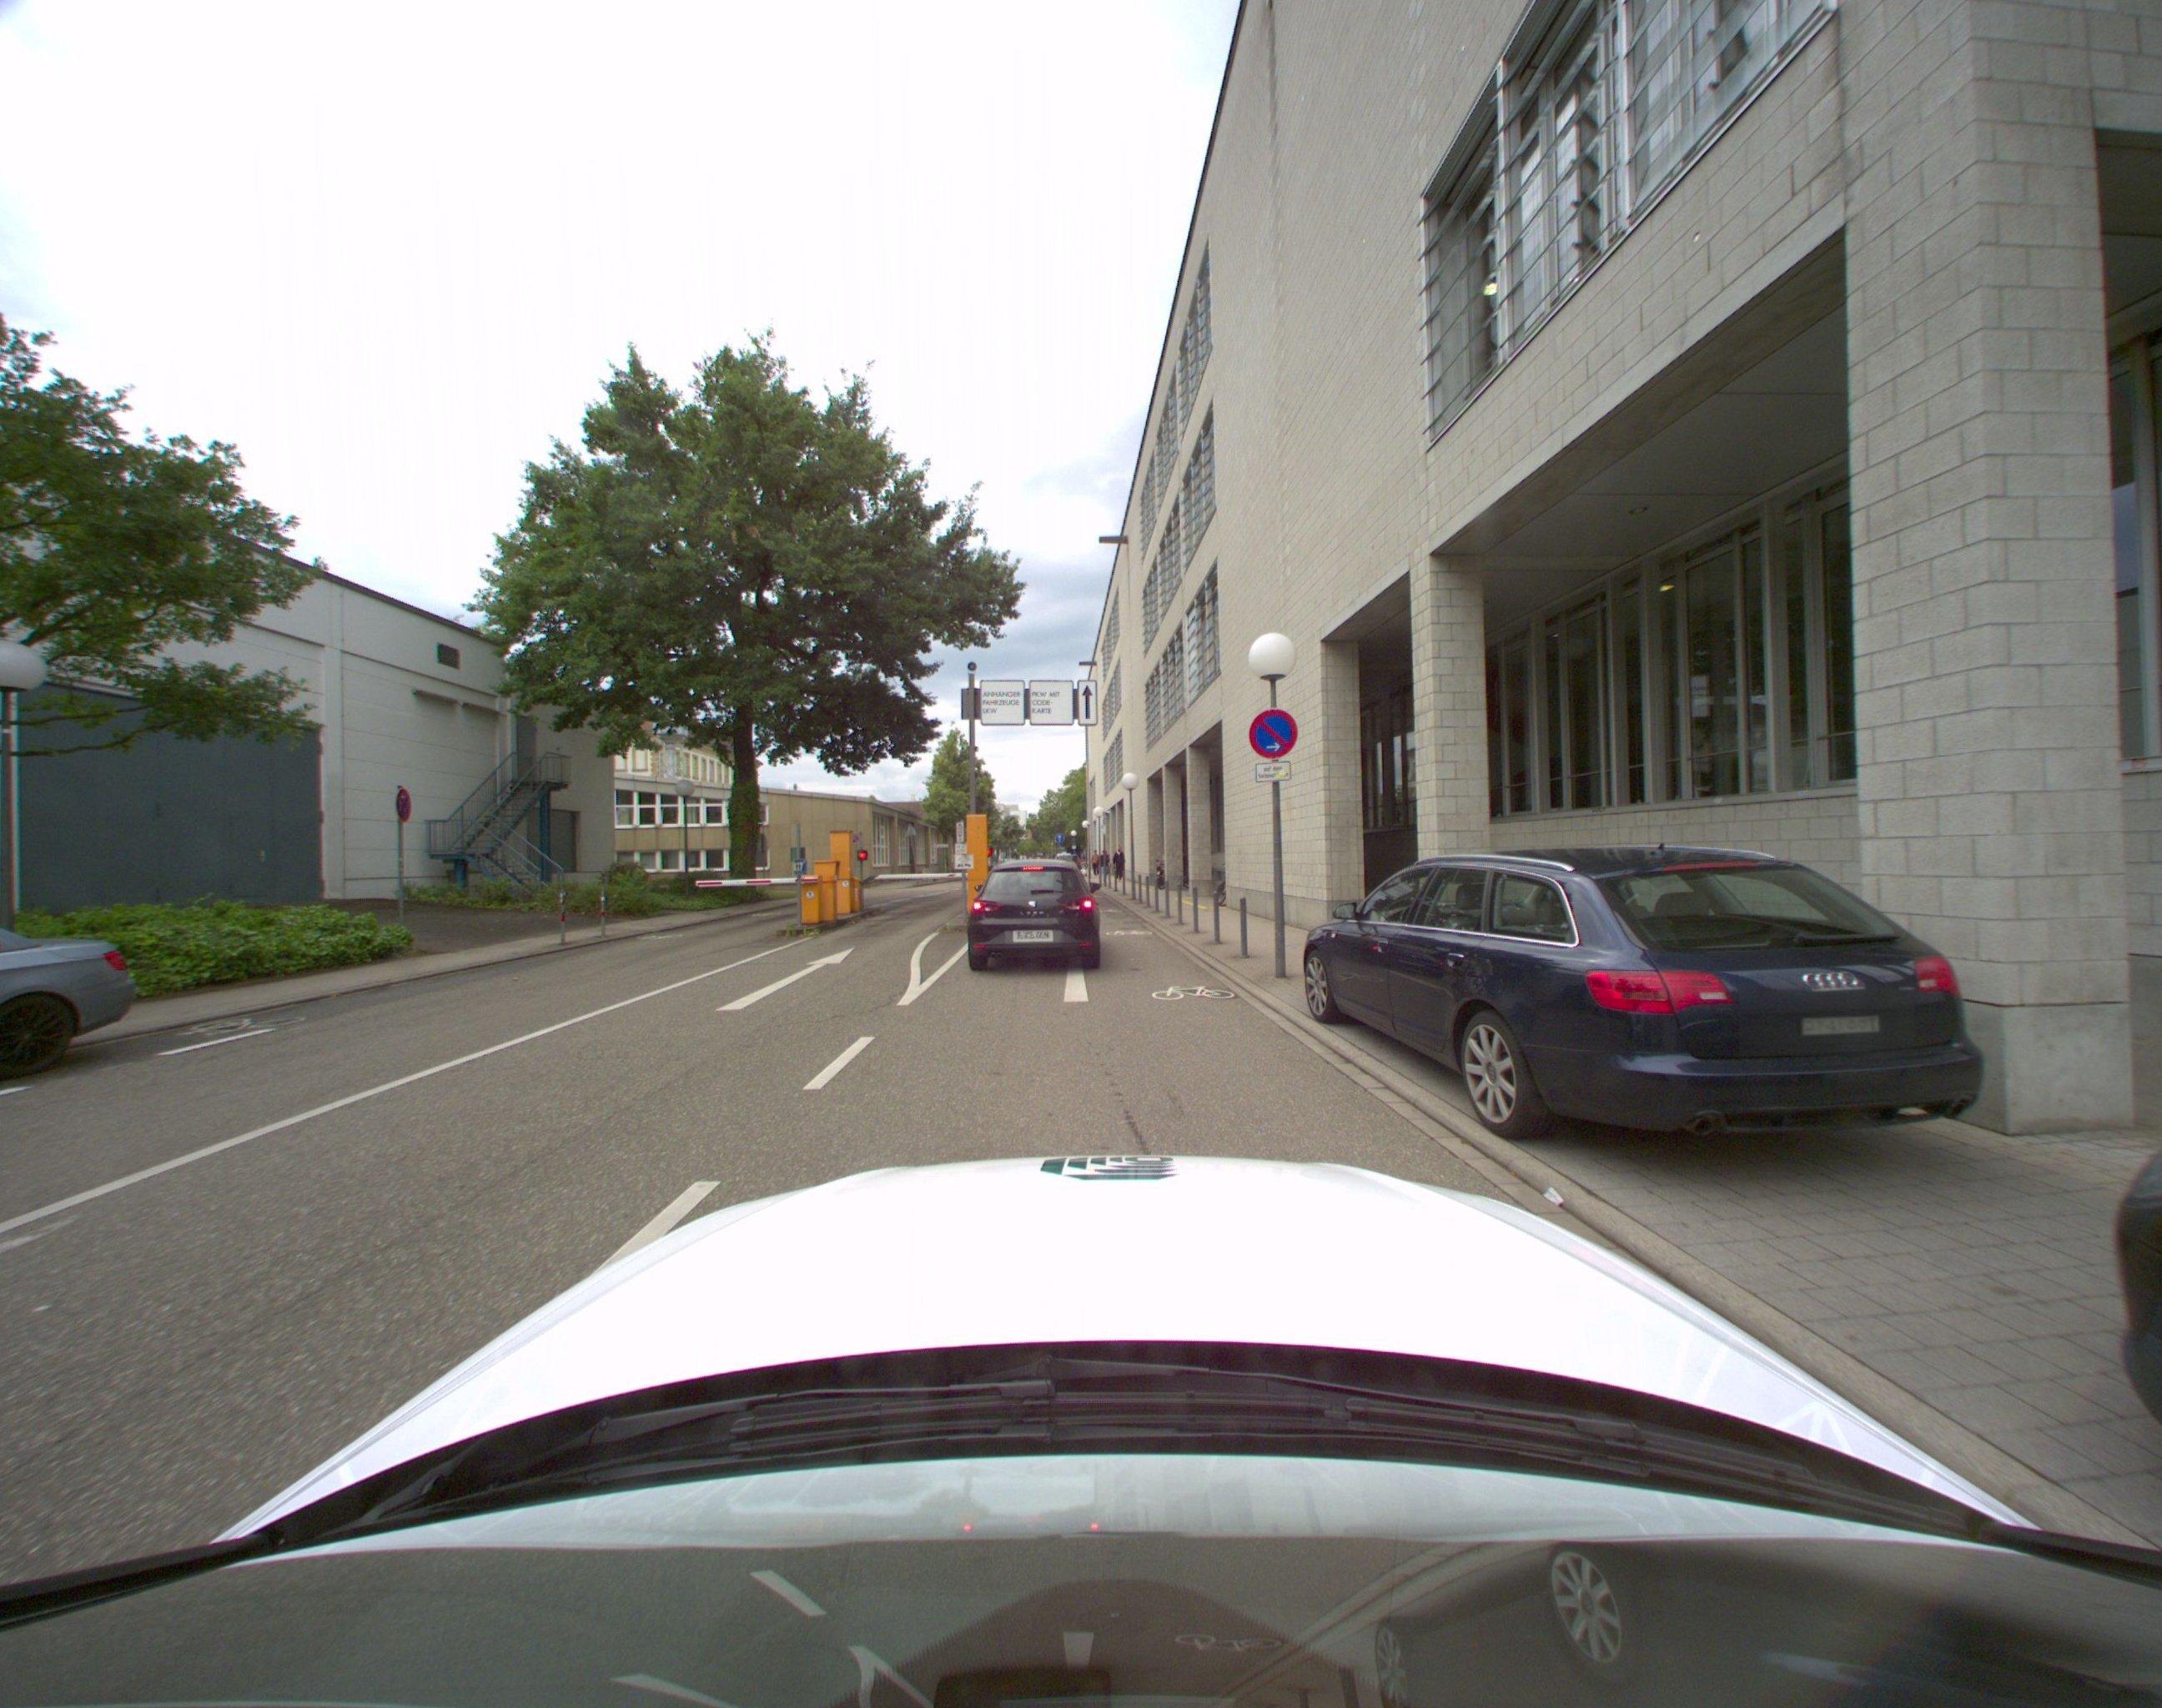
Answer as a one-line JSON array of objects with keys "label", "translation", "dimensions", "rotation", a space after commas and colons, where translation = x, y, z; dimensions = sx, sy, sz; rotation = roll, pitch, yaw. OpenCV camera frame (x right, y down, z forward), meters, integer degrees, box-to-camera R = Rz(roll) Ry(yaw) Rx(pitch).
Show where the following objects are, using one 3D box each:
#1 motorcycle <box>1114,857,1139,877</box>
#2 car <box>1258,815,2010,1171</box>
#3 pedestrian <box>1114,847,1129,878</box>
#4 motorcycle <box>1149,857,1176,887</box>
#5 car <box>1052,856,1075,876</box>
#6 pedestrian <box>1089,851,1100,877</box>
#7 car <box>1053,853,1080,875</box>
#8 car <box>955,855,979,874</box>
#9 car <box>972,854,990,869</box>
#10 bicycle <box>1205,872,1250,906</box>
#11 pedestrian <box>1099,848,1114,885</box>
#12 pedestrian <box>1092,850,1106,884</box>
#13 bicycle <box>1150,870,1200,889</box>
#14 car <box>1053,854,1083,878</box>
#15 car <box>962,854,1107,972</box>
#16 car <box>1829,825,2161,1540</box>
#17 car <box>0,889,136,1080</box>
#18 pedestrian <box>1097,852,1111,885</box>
[{"label": "motorcycle", "translation": [2.924, 0.809, 51.653], "dimensions": [0.753, 1.148, 2.677], "rotation": [1, 2, 22]}, {"label": "car", "translation": [2.925, 0.600, 5.942], "dimensions": [1.989, 1.452, 4.918], "rotation": [-1, 0, -2]}, {"label": "pedestrian", "translation": [2.234, 0.448, 44.688], "dimensions": [0.727, 1.698, 0.586], "rotation": [0, 2, -8]}, {"label": "motorcycle", "translation": [3.517, 0.753, 35.023], "dimensions": [0.561, 1.148, 2.229], "rotation": [1, 2, 22]}, {"label": "car", "translation": [-1.674, 1.085, 76.626], "dimensions": [1.989, 1.782, 4.423], "rotation": [-3, 0, -3]}, {"label": "pedestrian", "translation": [0.924, 0.653, 53.901], "dimensions": [0.694, 1.714, 0.489], "rotation": [-1, 0, 1]}, {"label": "car", "translation": [-1.174, 0.765, 64.838], "dimensions": [1.989, 1.622, 4.424], "rotation": [-3, 0, -2]}, {"label": "car", "translation": [-10.061, 0.910, 71.834], "dimensions": [1.766, 1.601, 3.995], "rotation": [-1, 0, -4]}, {"label": "car", "translation": [-11.569, 0.840, 94.554], "dimensions": [1.766, 1.601, 3.996], "rotation": [-1, 0, -3]}, {"label": "bicycle", "translation": [3.950, 0.924, 21.819], "dimensions": [0.458, 0.751, 2.309], "rotation": [-6, -1, 27]}, {"label": "pedestrian", "translation": [1.208, 0.599, 38.396], "dimensions": [0.609, 1.714, 0.574], "rotation": [-2, 0, -2]}, {"label": "pedestrian", "translation": [0.907, 0.657, 41.863], "dimensions": [0.694, 1.714, 0.489], "rotation": [-1, 0, -3]}, {"label": "bicycle", "translation": [3.691, 0.983, 31.917], "dimensions": [1.894, 0.698, 0.492], "rotation": [0, 2, -7]}, {"label": "car", "translation": [-0.986, 0.901, 60.315], "dimensions": [1.989, 1.622, 4.422], "rotation": [-2, -1, -3]}, {"label": "car", "translation": [-0.671, 0.723, 12.111], "dimensions": [1.778, 1.419, 4.125], "rotation": [-1, 0, -3]}, {"label": "car", "translation": [3.182, 0.640, 0.115], "dimensions": [1.814, 1.443, 4.515], "rotation": [-3, 0, -3]}, {"label": "car", "translation": [-8.900, 1.010, 4.861], "dimensions": [1.815, 1.389, 4.187], "rotation": [-1, 0, -5]}, {"label": "pedestrian", "translation": [1.176, 0.734, 42.446], "dimensions": [0.688, 1.698, 0.587], "rotation": [0, 2, -5]}]
